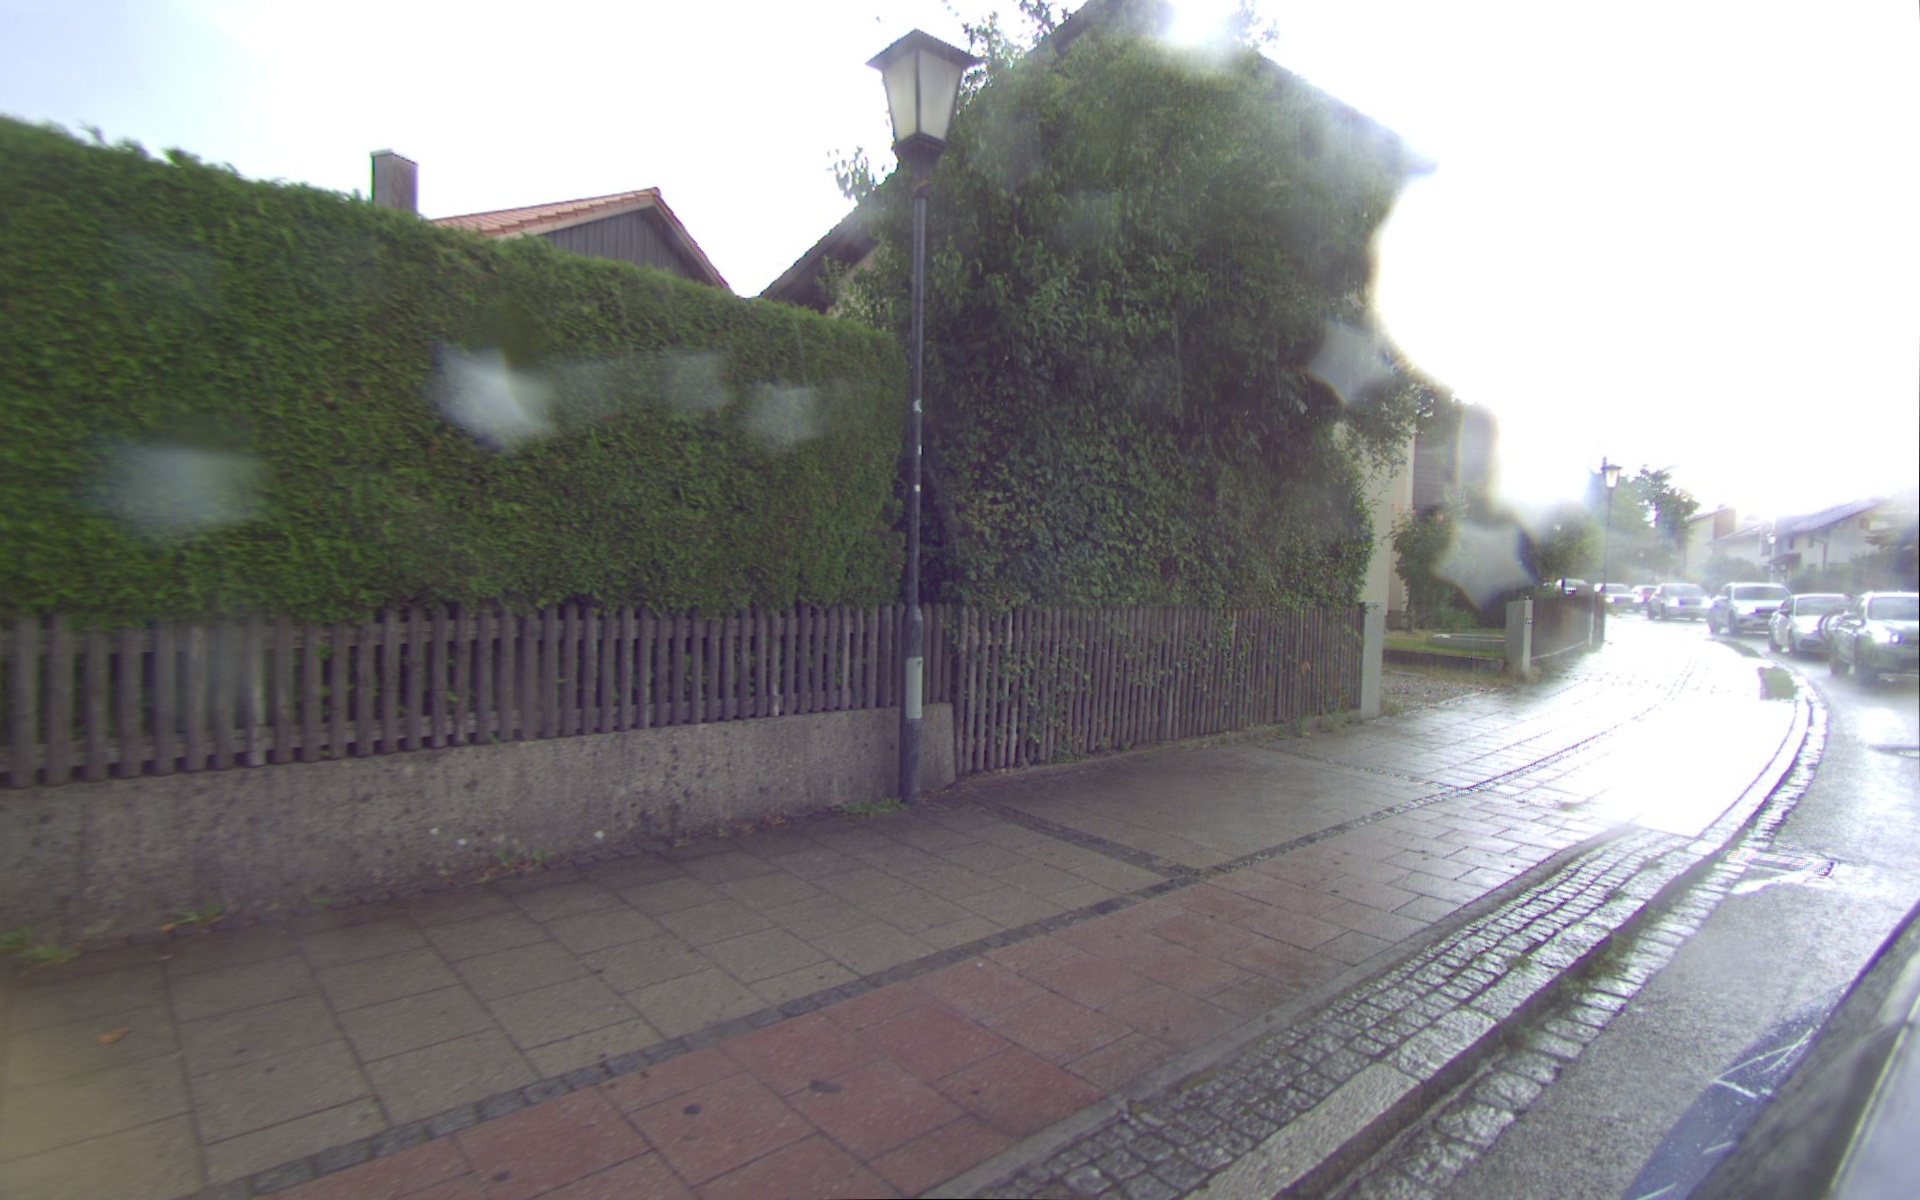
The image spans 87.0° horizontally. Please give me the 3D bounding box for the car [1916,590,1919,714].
[{"bbox_3d":[10.542,0.623,9.680,1.787,1.412,4.219,0,1,40],"label":"car"}]

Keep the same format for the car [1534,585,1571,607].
[{"bbox_3d":[43.217,-0.337,73.904,1.774,1.568,4.249,0,1,23],"label":"car"}]

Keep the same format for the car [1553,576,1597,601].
[{"bbox_3d":[39.822,-0.766,65.612,1.774,1.568,4.249,0,1,23],"label":"car"}]

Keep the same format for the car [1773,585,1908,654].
[{"bbox_3d":[20.088,0.378,23.265,1.782,1.412,4.230,0,1,34],"label":"car"}]

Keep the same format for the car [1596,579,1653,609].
[{"bbox_3d":[35.919,-0.320,54.777,1.774,1.568,4.249,0,1,23],"label":"car"}]

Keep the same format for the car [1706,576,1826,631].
[{"bbox_3d":[24.740,0.064,31.229,1.774,1.568,4.249,0,1,23],"label":"car"}]

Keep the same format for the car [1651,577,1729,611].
[{"bbox_3d":[31.351,-0.253,43.601,1.774,1.391,4.249,0,1,23],"label":"car"}]

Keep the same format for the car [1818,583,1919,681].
[{"bbox_3d":[16.431,0.454,17.515,1.782,1.498,5.321,0,1,34],"label":"car"}]
